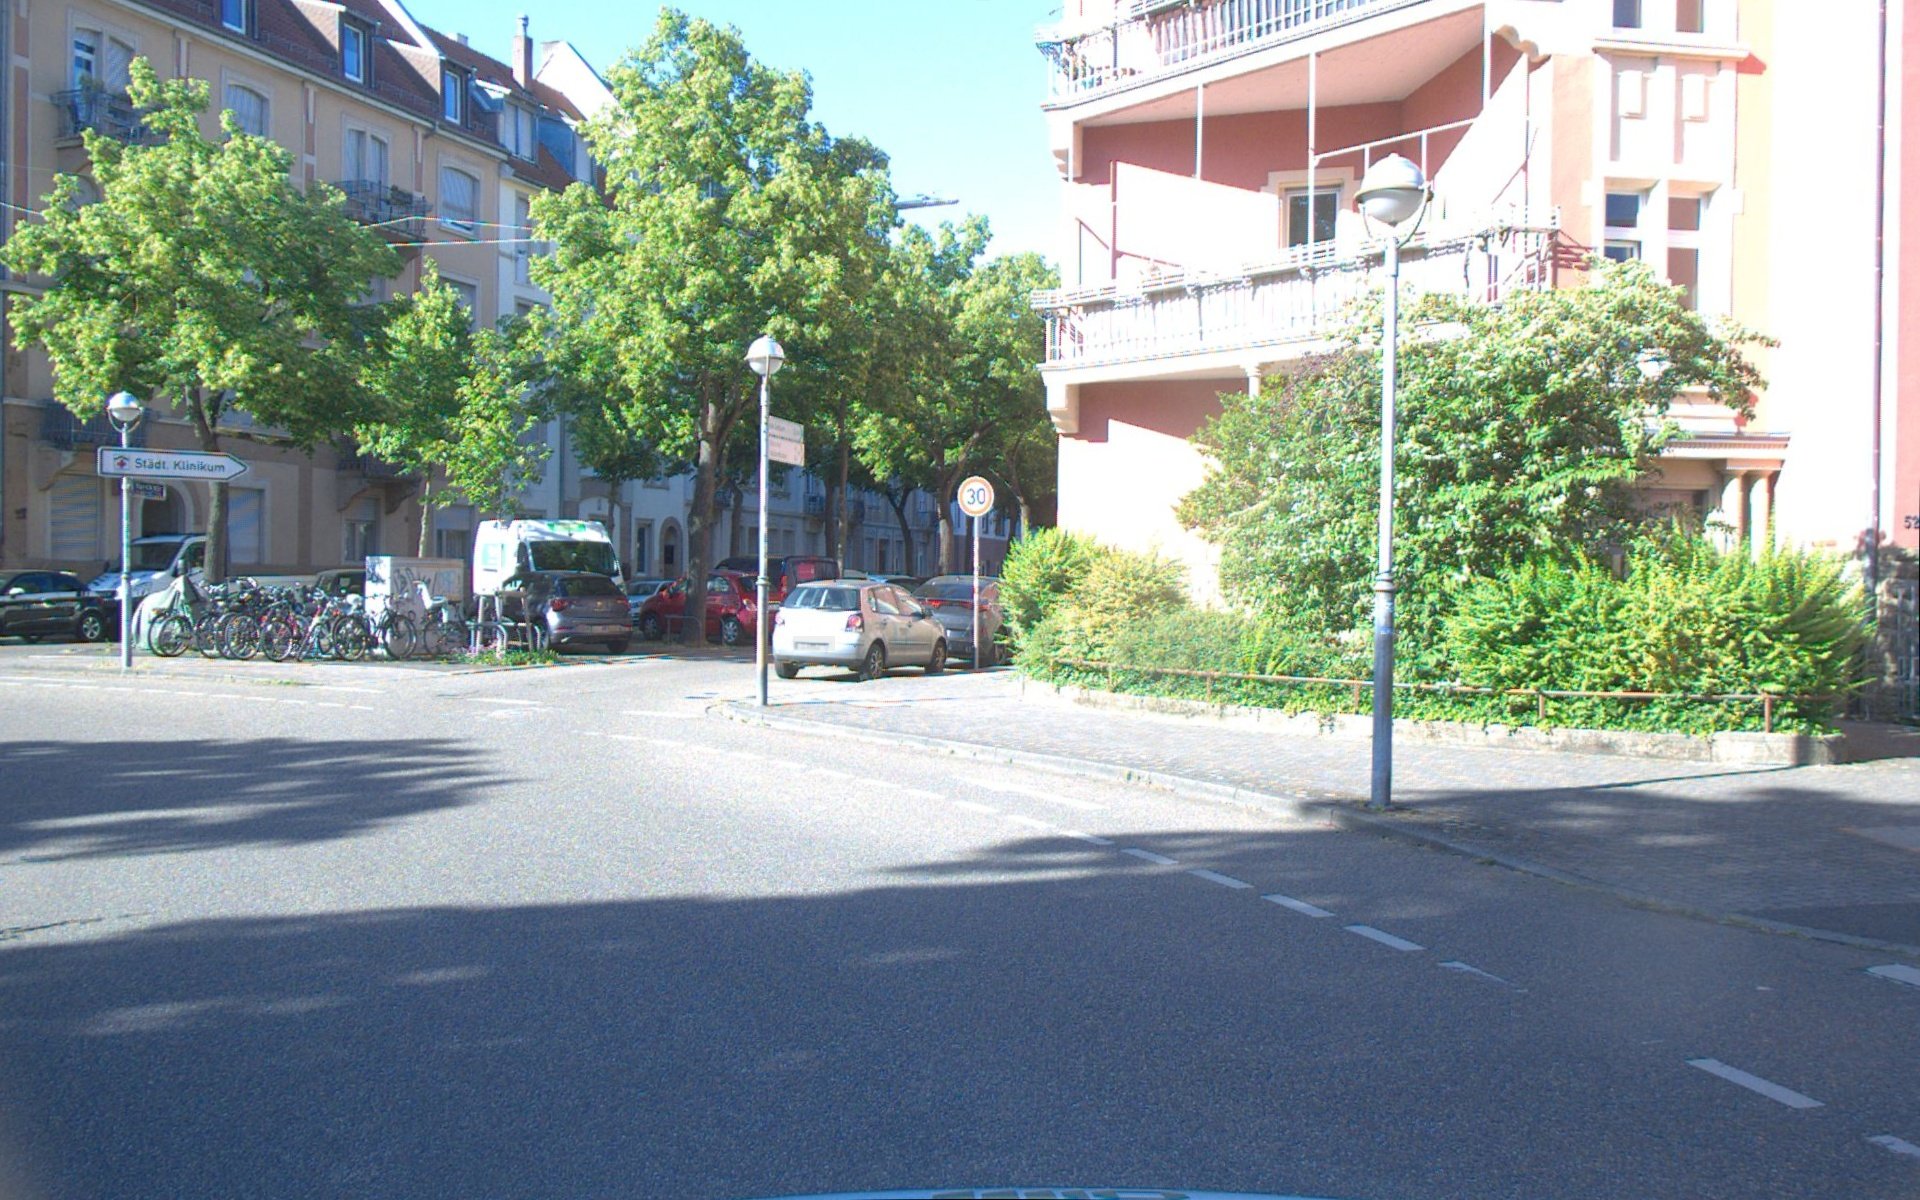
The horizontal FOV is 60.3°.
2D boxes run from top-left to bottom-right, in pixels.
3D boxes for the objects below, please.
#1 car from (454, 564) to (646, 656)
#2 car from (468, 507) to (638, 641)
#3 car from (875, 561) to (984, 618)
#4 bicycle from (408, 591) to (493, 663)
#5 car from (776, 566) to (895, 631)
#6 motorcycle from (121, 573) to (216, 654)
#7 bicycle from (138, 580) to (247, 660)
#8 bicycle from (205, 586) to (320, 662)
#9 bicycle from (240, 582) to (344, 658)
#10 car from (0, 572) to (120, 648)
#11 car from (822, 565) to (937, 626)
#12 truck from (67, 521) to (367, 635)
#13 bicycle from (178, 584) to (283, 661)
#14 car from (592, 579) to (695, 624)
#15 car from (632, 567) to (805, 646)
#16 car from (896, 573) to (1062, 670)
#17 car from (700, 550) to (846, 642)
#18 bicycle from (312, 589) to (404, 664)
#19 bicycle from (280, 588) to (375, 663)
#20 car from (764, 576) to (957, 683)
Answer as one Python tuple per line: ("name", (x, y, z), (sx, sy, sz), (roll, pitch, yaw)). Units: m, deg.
("car", (-7.535, 0.153, 30.209), (1.675, 1.471, 3.859), (1, 2, -44))
("car", (-8.980, -0.622, 36.032), (2.073, 2.645, 6.318), (1, 1, -28))
("car", (-0.913, -0.312, 47.632), (1.665, 1.495, 3.349), (1, 2, -31))
("bicycle", (-8.260, 0.423, 26.865), (0.409, 1.105, 1.526), (2, 2, 24))
("car", (-3.172, -0.053, 41.722), (1.665, 1.495, 3.349), (1, 2, -31))
("motorcycle", (-13.576, 0.220, 28.347), (1.673, 1.292, 0.538), (2, 2, 26))
("bicycle", (-12.412, 0.309, 26.794), (0.525, 1.213, 1.680), (2, 2, 22))
("bicycle", (-11.050, 0.358, 26.256), (0.642, 1.107, 1.730), (2, 2, 22))
("bicycle", (-10.472, 0.291, 25.976), (0.488, 1.121, 1.649), (2, 2, 23))
("car", (-18.387, 0.171, 31.903), (1.647, 1.414, 3.925), (0, 1, 17))
("car", (-2.182, -0.142, 44.217), (1.665, 1.495, 3.349), (1, 2, -31))
("truck", (-16.531, -0.485, 37.353), (2.088, 2.332, 6.622), (0, 1, 21))
("bicycle", (-11.686, 0.339, 26.540), (0.575, 1.146, 1.602), (2, 2, 22))
("car", (-10.303, 0.021, 54.097), (1.647, 1.414, 3.925), (0, 1, 17))
("car", (-5.080, 0.106, 34.706), (3.315, 1.471, 1.682), (3, 2, 35))
("car", (0.436, 0.332, 30.187), (1.648, 1.589, 4.296), (2, 1, 20))
("car", (-4.212, -0.107, 37.041), (1.672, 1.897, 3.336), (1, 2, -40))
("bicycle", (-9.428, 0.394, 25.956), (0.409, 1.105, 1.526), (2, 2, 24))
("bicycle", (-9.912, 0.380, 25.967), (0.409, 1.108, 1.573), (2, 2, 23))
("car", (-1.457, 0.393, 25.508), (1.648, 1.471, 3.547), (2, 1, 20))
